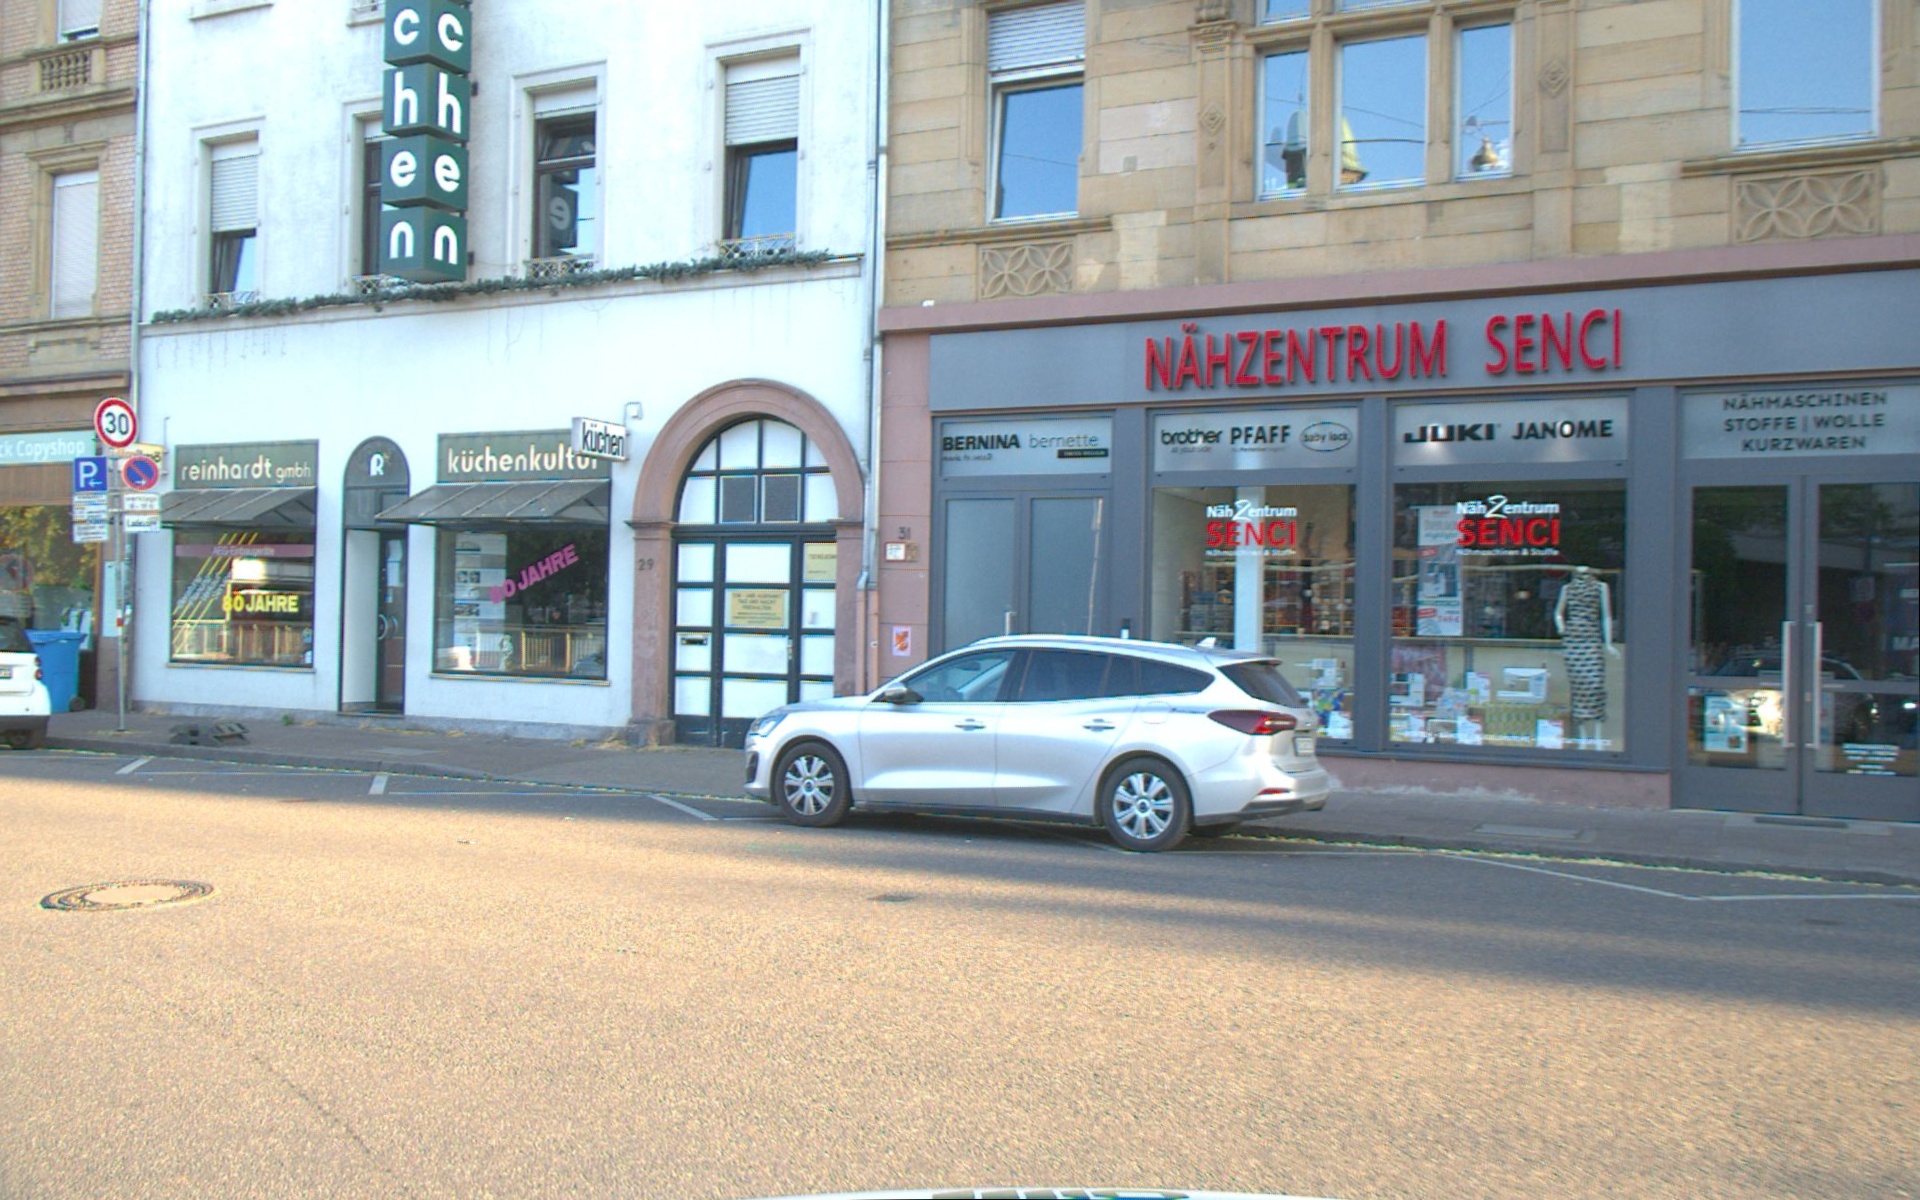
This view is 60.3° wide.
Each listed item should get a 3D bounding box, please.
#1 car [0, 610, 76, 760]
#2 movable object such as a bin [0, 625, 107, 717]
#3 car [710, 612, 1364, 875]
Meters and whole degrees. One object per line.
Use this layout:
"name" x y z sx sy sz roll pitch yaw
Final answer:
"car" -12.240 0.891 18.990 3.909 1.612 1.704 2 0 26
"movable object such as a bin" -12.519 0.951 22.589 1.366 1.207 0.868 0 -1 26
"car" 0.585 0.970 12.697 4.574 1.562 1.999 2 -1 25
